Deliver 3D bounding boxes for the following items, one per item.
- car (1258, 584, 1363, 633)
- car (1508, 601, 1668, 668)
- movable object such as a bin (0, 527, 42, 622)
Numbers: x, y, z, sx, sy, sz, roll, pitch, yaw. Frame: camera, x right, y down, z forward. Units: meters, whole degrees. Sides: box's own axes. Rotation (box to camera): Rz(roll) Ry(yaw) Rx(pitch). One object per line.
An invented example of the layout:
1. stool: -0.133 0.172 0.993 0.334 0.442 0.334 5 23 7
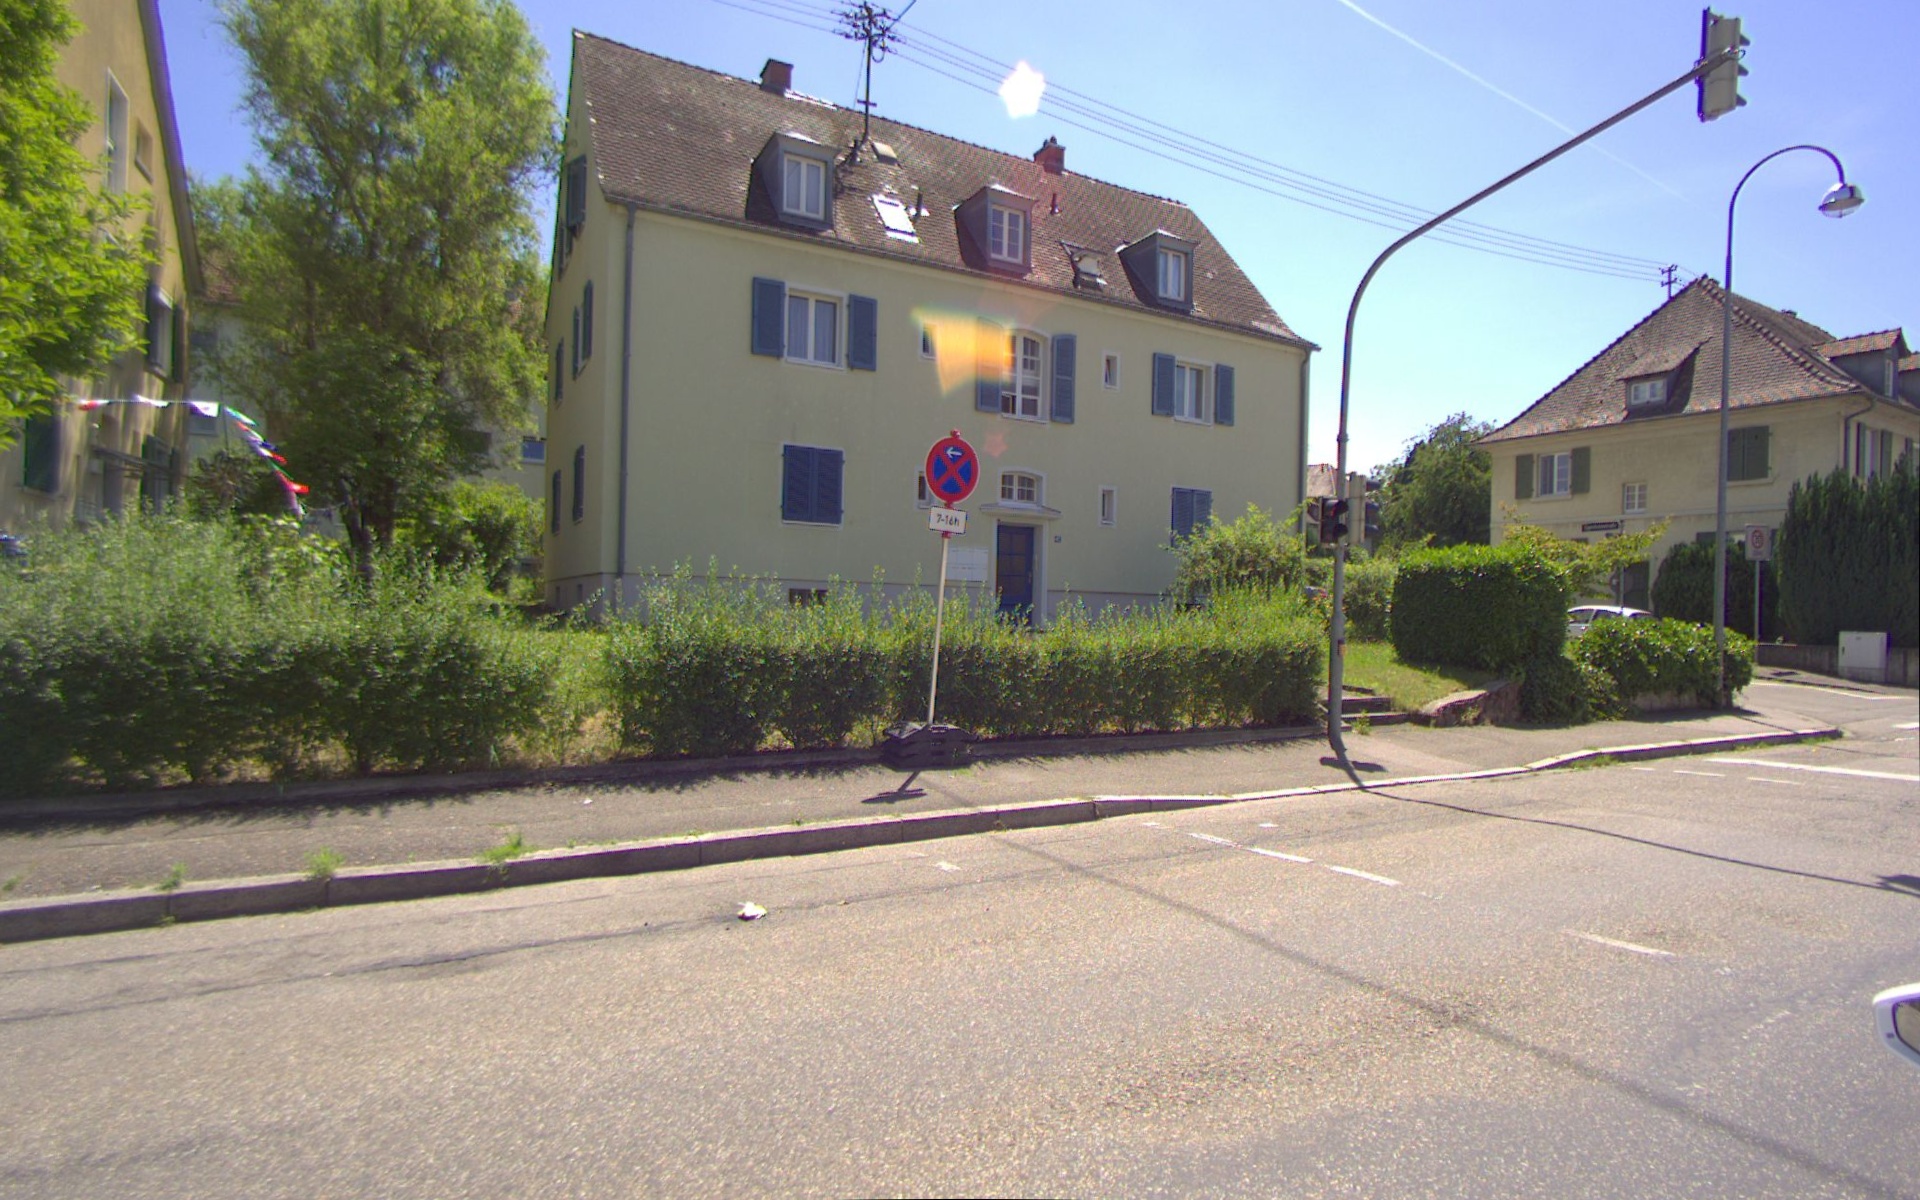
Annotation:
1. car: 12.642 0.287 36.364 1.714 1.476 3.187 2 3 -29
2. car: 17.023 0.905 27.373 1.711 1.476 3.192 2 3 -24
3. movable object such as a bin: -12.575 -0.328 13.154 0.665 1.212 0.618 1 0 -28
